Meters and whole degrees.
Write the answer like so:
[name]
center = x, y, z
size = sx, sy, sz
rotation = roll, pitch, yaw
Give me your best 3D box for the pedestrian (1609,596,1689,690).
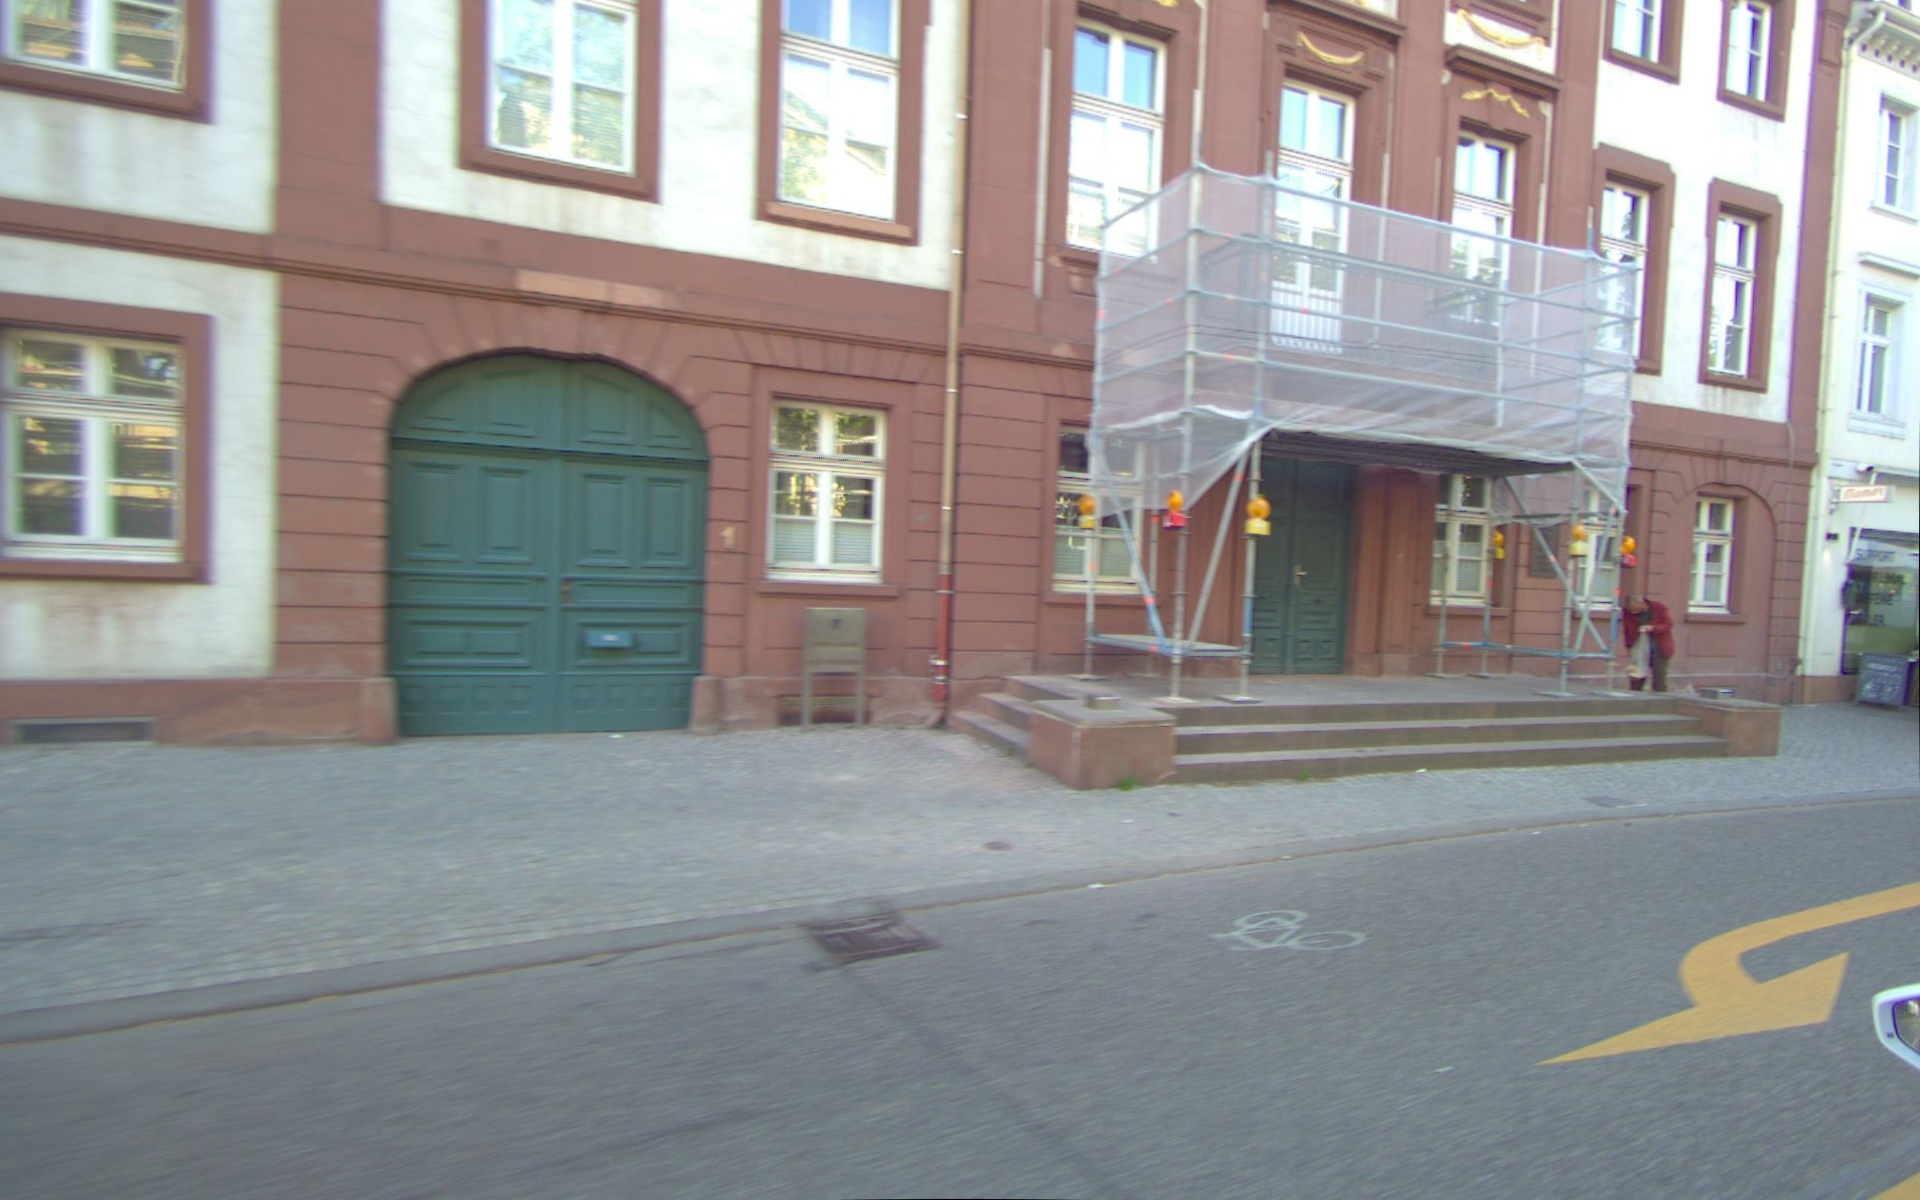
[pedestrian]
center = 8.253, 0.502, 12.042
size = 0.544, 1.067, 0.535
rotation = 1, 3, -26
